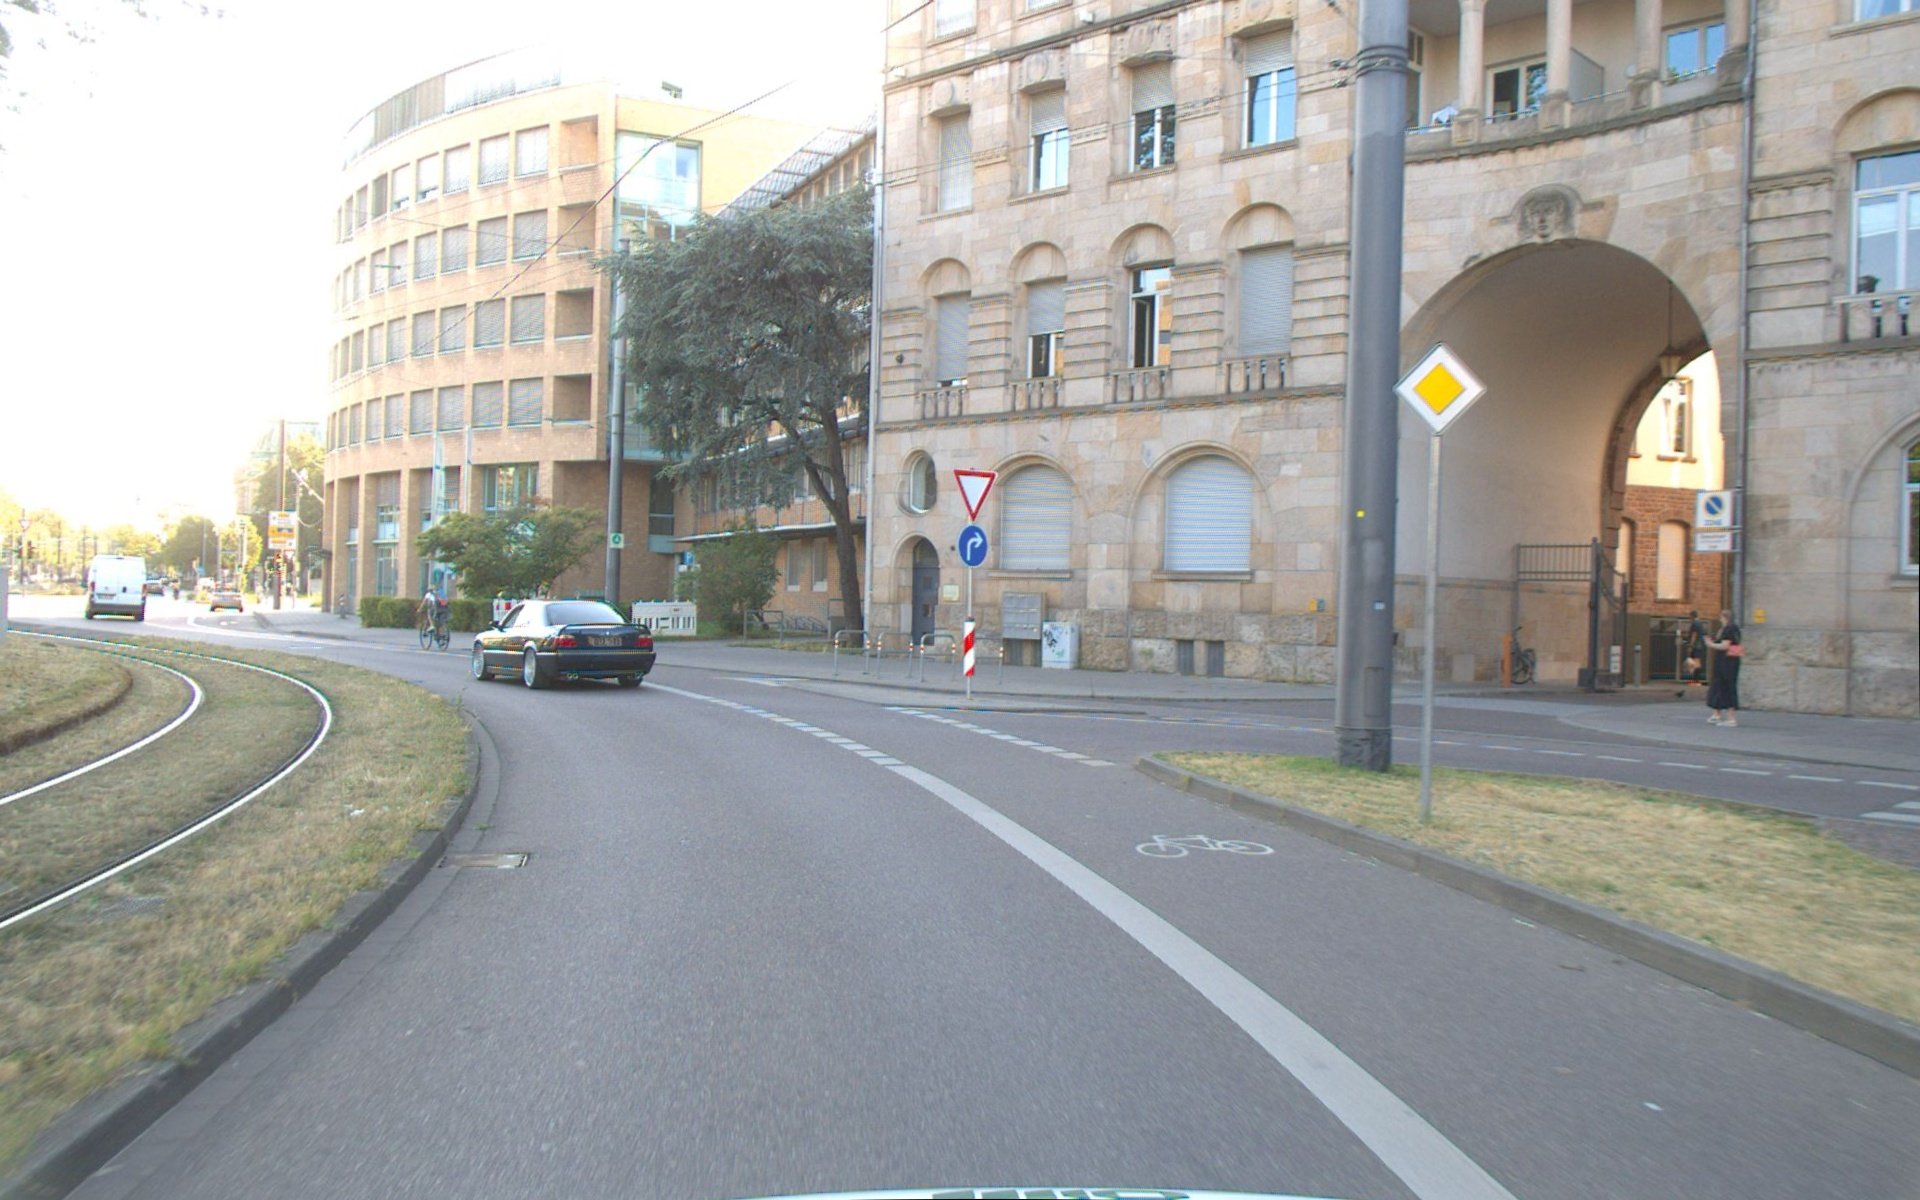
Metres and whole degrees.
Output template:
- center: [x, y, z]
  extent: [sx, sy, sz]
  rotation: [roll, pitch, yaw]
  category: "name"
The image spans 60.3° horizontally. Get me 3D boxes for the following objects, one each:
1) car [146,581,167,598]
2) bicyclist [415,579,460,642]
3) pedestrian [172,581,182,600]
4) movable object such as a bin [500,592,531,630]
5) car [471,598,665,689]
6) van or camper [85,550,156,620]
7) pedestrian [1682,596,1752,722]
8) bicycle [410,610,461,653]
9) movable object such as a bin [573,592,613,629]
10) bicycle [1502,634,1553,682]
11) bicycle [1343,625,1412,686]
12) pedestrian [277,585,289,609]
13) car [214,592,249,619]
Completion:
- center: [-81.661, -1.061, 168.115]
  extent: [1.774, 1.593, 3.963]
  rotation: [1, 1, -28]
  category: "car"
- center: [-12.978, 0.259, 41.071]
  extent: [0.652, 1.509, 1.022]
  rotation: [4, -2, -42]
  category: "bicyclist"
- center: [-63.276, -0.763, 133.650]
  extent: [0.607, 1.501, 0.795]
  rotation: [1, 1, -20]
  category: "pedestrian"
- center: [-17.710, 0.444, 65.920]
  extent: [0.952, 1.462, 1.343]
  rotation: [1, 1, -6]
  category: "movable object such as a bin"
- center: [-6.576, 0.696, 27.393]
  extent: [1.812, 1.378, 4.590]
  rotation: [1, -1, -32]
  category: "car"
- center: [-33.746, -0.645, 66.597]
  extent: [2.233, 2.670, 4.470]
  rotation: [1, 1, -24]
  category: "van or camper"
- center: [10.758, 0.824, 23.502]
  extent: [0.573, 1.739, 0.710]
  rotation: [1, 1, -43]
  category: "pedestrian"
- center: [-13.056, 0.775, 41.157]
  extent: [0.512, 0.971, 1.749]
  rotation: [4, -1, -41]
  category: "bicycle"
- center: [-14.768, 0.405, 66.610]
  extent: [1.328, 1.449, 0.914]
  rotation: [1, 1, -32]
  category: "movable object such as a bin"
- center: [12.216, 1.235, 35.590]
  extent: [0.473, 0.972, 1.503]
  rotation: [2, 1, 42]
  category: "bicycle"
- center: [7.904, 1.038, 31.273]
  extent: [0.422, 1.091, 1.844]
  rotation: [2, 1, 42]
  category: "bicycle"
- center: [-46.178, -0.197, 112.780]
  extent: [0.669, 1.597, 0.793]
  rotation: [1, 1, -27]
  category: "pedestrian"
- center: [-42.058, 0.318, 95.464]
  extent: [1.761, 1.378, 4.233]
  rotation: [3, 0, -25]
  category: "car"
